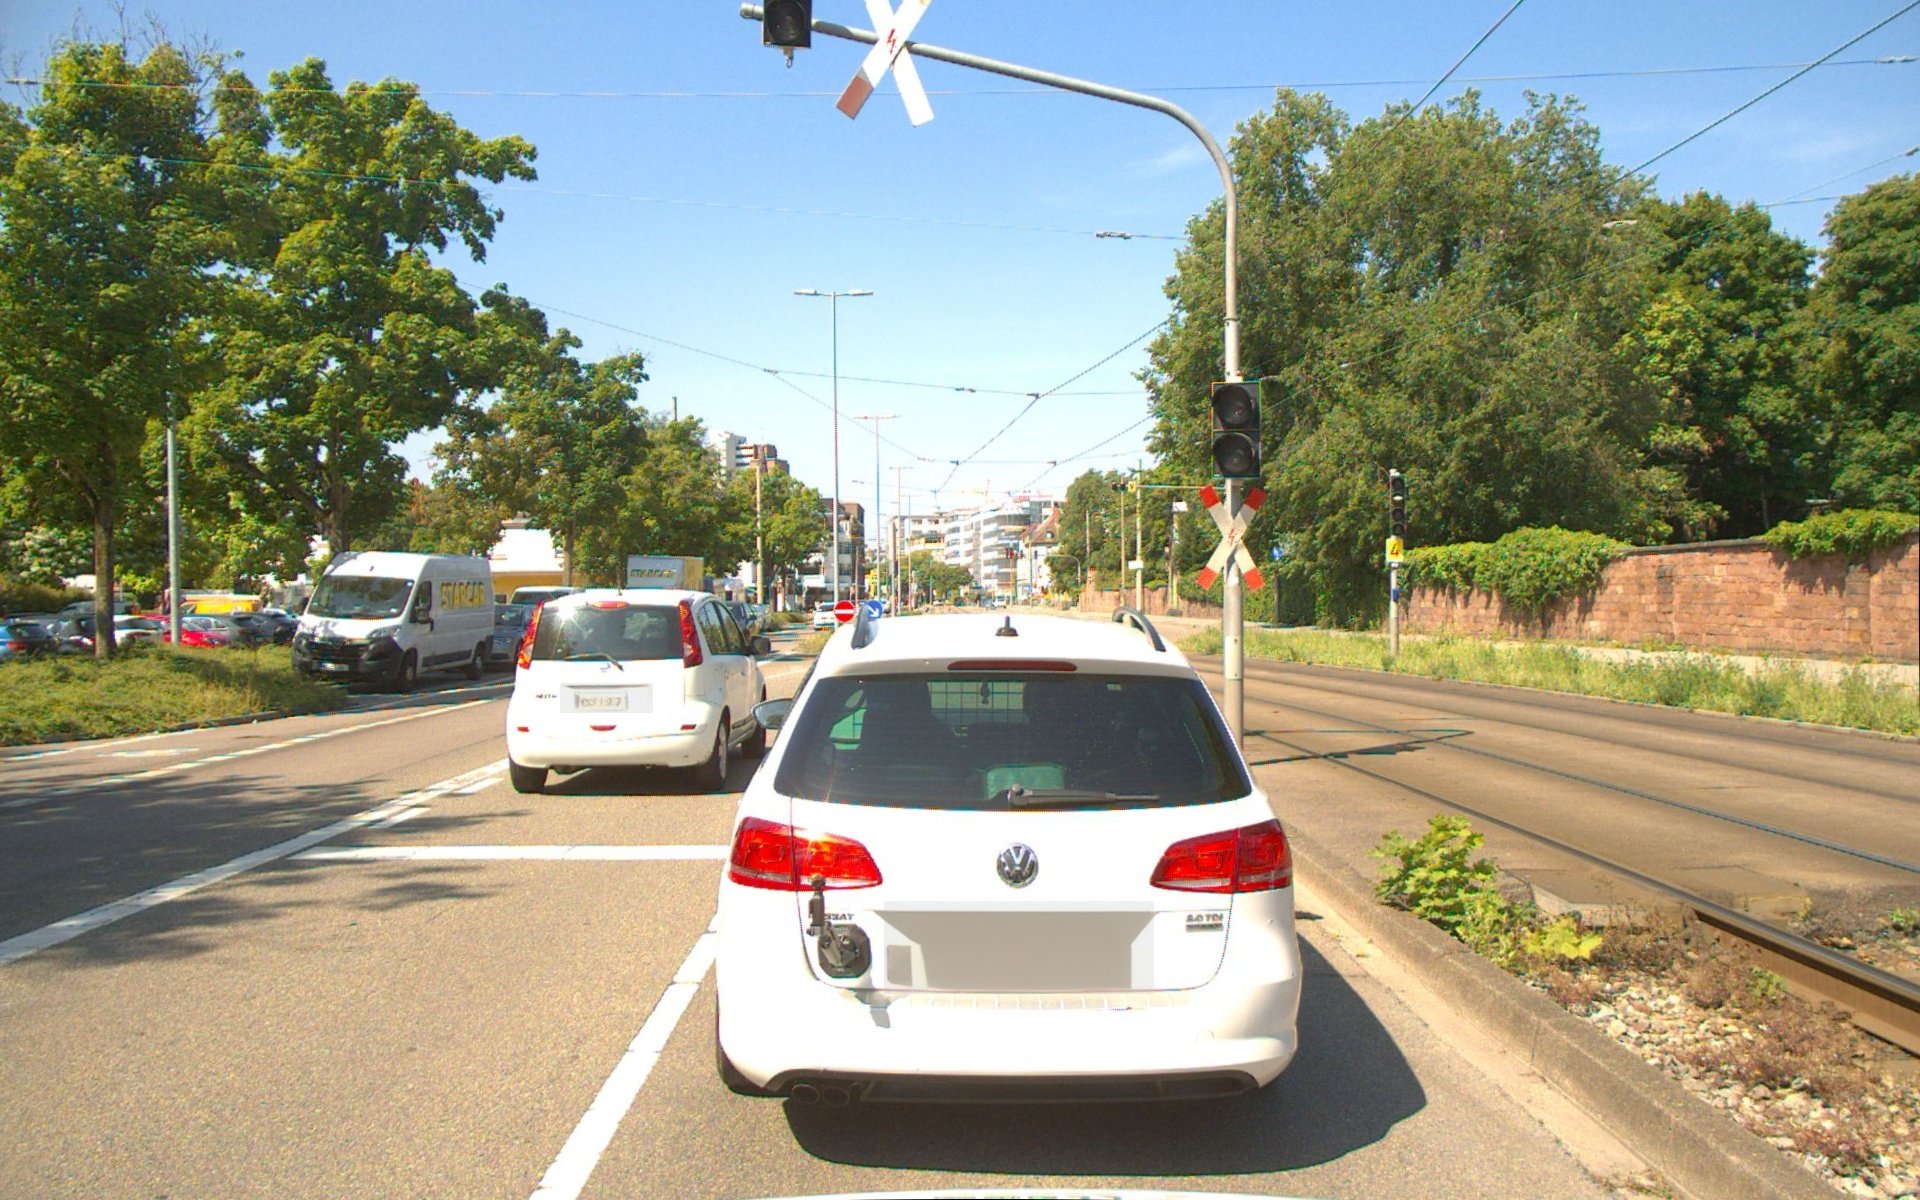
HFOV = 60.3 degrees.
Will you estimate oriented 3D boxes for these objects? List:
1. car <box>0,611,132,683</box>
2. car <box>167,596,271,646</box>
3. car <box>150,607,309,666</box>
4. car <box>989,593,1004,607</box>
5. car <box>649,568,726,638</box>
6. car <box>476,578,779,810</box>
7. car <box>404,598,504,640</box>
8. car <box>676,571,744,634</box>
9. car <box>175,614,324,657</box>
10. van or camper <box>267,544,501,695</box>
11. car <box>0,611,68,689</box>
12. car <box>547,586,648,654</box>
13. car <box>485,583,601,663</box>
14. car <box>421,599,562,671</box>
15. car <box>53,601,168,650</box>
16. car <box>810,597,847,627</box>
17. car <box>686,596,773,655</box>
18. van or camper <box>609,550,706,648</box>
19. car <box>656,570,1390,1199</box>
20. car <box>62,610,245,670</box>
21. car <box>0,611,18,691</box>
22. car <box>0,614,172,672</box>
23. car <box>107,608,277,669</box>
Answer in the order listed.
[{"bbox_3d":[-21.549,1.090,38.234,3.906,1.571,1.663,-2,0,-2],"label":"car"},{"bbox_3d":[-33.982,0.955,75.941,3.909,2.238,1.909,-1,0,-5],"label":"car"},{"bbox_3d":[-21.425,1.055,48.607,3.906,1.571,1.663,-2,0,-2],"label":"car"},{"bbox_3d":[5.575,0.012,252.380,2.083,2.049,5.282,-1,0,-1],"label":"car"},{"bbox_3d":[-11.072,0.109,67.595,2.151,2.715,6.079,1,0,-1],"label":"car"},{"bbox_3d":[-2.560,0.656,13.651,1.695,1.624,4.011,0,0,0],"label":"car"},{"bbox_3d":[-22.291,0.843,72.972,3.907,1.724,1.662,-2,0,-3],"label":"car"},{"bbox_3d":[-11.161,0.082,74.310,2.151,2.676,5.978,1,0,-1],"label":"car"},{"bbox_3d":[-21.816,1.089,50.874,3.809,1.174,1.663,-2,0,-2],"label":"car"},{"bbox_3d":[-10.814,0.328,31.686,2.211,2.558,6.147,-1,0,1],"label":"van or camper"},{"bbox_3d":[-21.253,1.081,34.897,3.907,1.571,1.662,-2,0,-3],"label":"car"},{"bbox_3d":[-11.184,0.580,51.371,2.152,1.974,5.182,-1,0,-3],"label":"car"},{"bbox_3d":[-11.096,0.570,44.372,2.153,1.974,5.179,-1,0,-5],"label":"car"},{"bbox_3d":[-10.678,0.750,38.034,1.893,1.480,4.885,-1,0,-1],"label":"car"},{"bbox_3d":[-36.427,1.080,70.988,3.908,2.038,1.909,0,0,-5],"label":"car"},{"bbox_3d":[-6.989,0.623,88.283,1.692,1.491,3.999,-1,0,-1],"label":"car"},{"bbox_3d":[-6.245,0.666,45.224,1.749,1.434,4.305,-1,1,0],"label":"car"},{"bbox_3d":[-10.827,-0.038,59.668,2.151,3.298,6.772,1,0,0],"label":"van or camper"},{"bbox_3d":[0.151,0.698,5.923,1.742,1.516,3.846,1,0,0],"label":"car"},{"bbox_3d":[-21.099,1.042,43.354,3.906,1.434,1.732,-1,0,-2],"label":"car"},{"bbox_3d":[-20.928,1.064,32.424,3.907,1.571,1.662,-2,0,-3],"label":"car"},{"bbox_3d":[-21.673,1.039,40.566,3.836,1.293,1.663,-2,0,-2],"label":"car"},{"bbox_3d":[-21.244,1.054,45.841,3.906,1.571,1.663,-1,0,-2],"label":"car"}]
